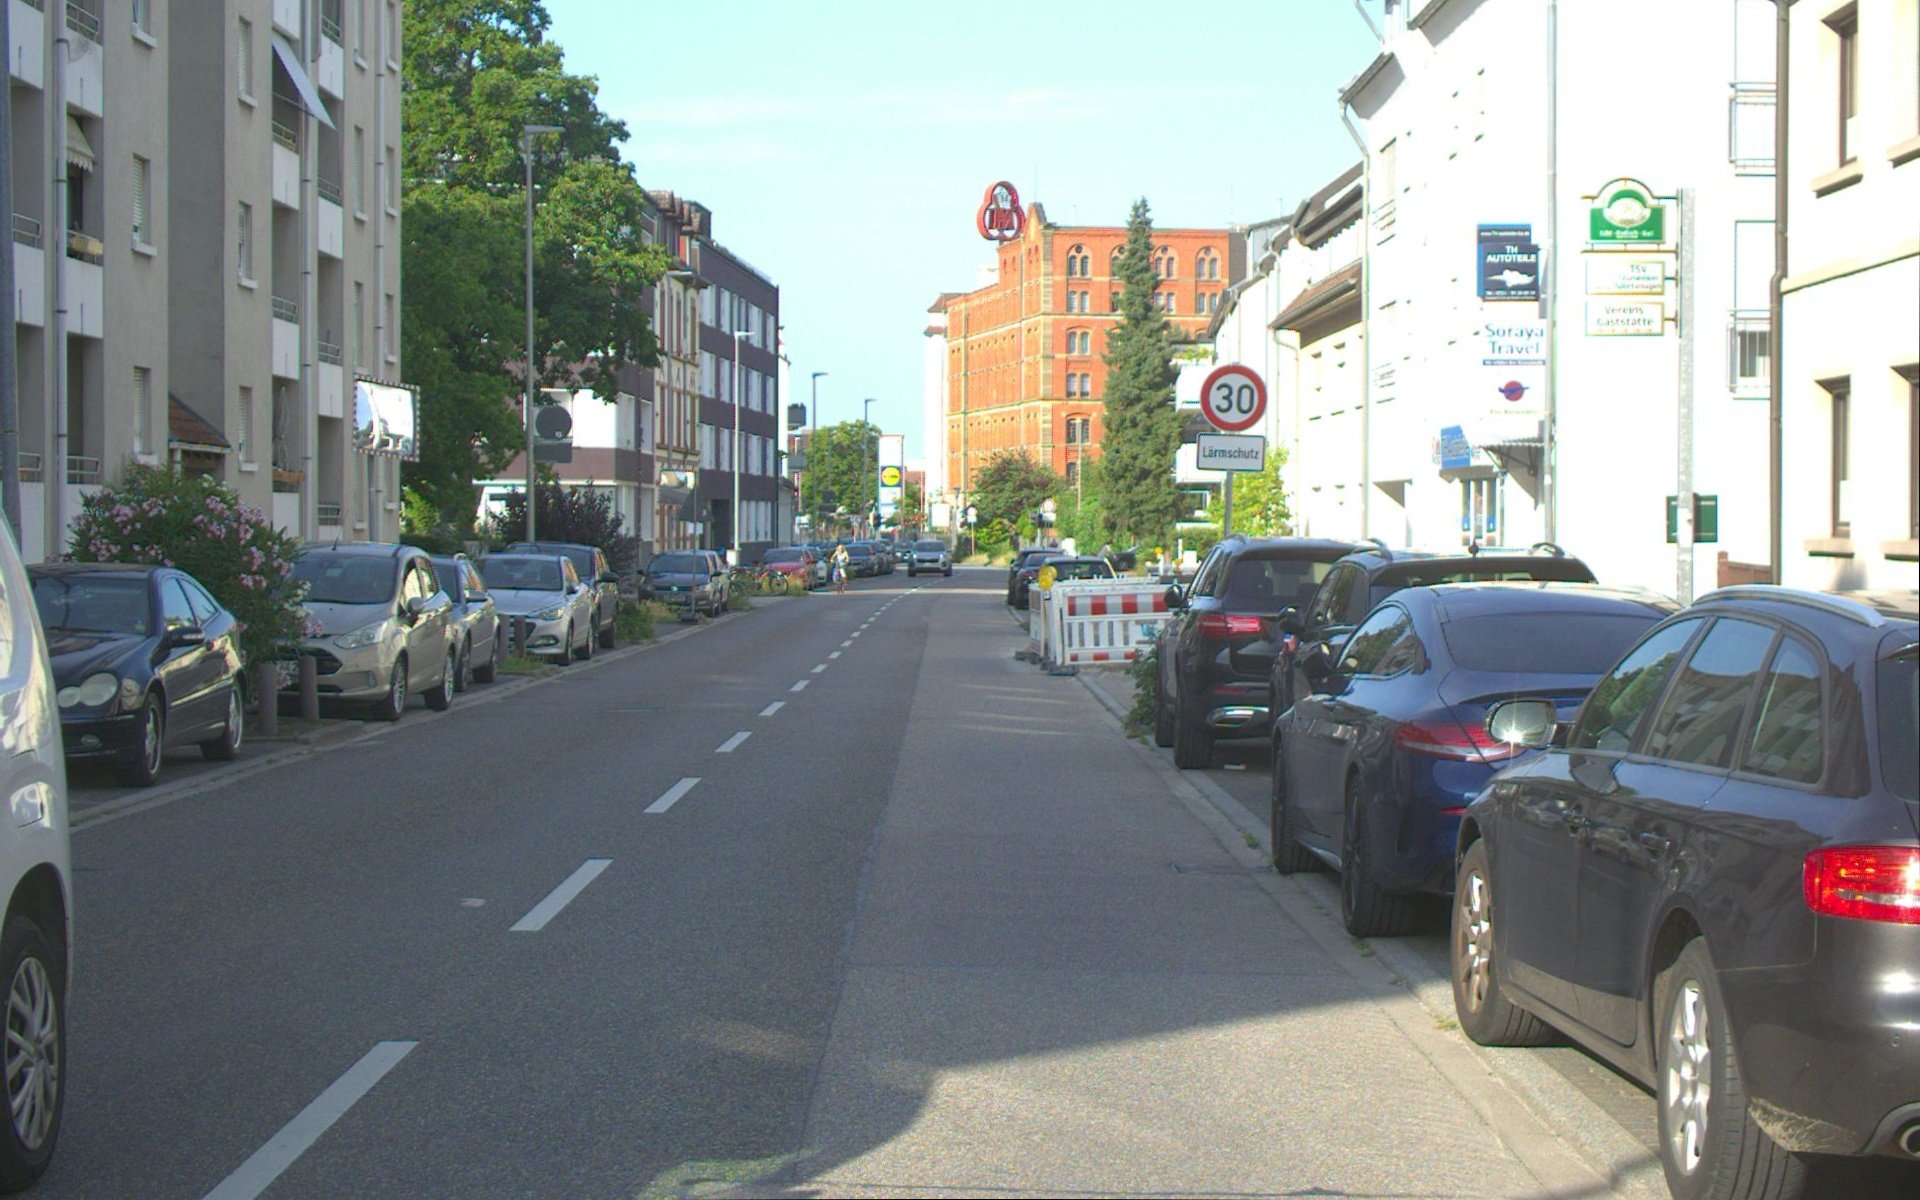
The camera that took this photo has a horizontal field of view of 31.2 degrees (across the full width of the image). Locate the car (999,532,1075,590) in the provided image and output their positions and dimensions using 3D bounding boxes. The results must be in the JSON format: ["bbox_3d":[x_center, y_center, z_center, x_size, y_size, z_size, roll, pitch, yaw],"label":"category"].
[{"bbox_3d":[1.982,-1.038,89.224,1.859,1.467,4.000,0,1,0],"label":"car"}]

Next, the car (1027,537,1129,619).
[{"bbox_3d":[2.198,-0.437,64.953,1.830,1.477,3.943,0,1,1],"label":"car"}]

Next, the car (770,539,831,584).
[{"bbox_3d":[-5.302,-1.284,114.624,1.840,1.459,3.585,0,1,0],"label":"car"}]

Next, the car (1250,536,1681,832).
[{"bbox_3d":[2.861,0.406,20.374,1.830,1.555,4.317,0,1,-1],"label":"car"}]

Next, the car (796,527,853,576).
[{"bbox_3d":[-5.294,-1.895,134.572,1.993,1.901,4.000,0,1,1],"label":"car"}]

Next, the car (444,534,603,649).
[{"bbox_3d":[-5.854,-0.143,46.515,1.686,1.449,4.141,1,1,-1],"label":"car"}]

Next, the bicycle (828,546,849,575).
[{"bbox_3d":[-3.936,-1.287,111.263,0.608,0.939,1.811,0,1,0],"label":"bicycle"}]

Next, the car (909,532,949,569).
[{"bbox_3d":[-1.377,-2.231,154.346,1.763,1.611,4.000,0,1,0],"label":"car"}]

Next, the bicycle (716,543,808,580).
[{"bbox_3d":[-6.149,-1.206,106.672,2.773,1.140,1.143,0,1,1],"label":"bicycle"}]

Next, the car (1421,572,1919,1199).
[{"bbox_3d":[2.440,0.668,8.996,1.779,1.415,4.496,0,1,-1],"label":"car"}]

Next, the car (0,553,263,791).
[{"bbox_3d":[-5.913,0.412,23.066,1.686,1.401,4.084,1,1,-1],"label":"car"}]

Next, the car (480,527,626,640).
[{"bbox_3d":[-6.060,-0.274,51.614,1.686,1.597,4.370,1,1,-1],"label":"car"}]

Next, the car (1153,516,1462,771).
[{"bbox_3d":[2.453,0.310,25.273,1.830,1.624,4.463,3,-1,1],"label":"car"}]

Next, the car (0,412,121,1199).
[{"bbox_3d":[-3.061,0.509,6.385,1.922,1.761,4.338,-1,1,0],"label":"car"}]

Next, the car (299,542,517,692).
[{"bbox_3d":[-6.060,0.141,38.164,1.807,1.516,4.371,1,1,-2],"label":"car"}]

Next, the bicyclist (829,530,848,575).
[{"bbox_3d":[-3.943,-1.537,111.293,0.591,1.437,0.751,0,1,0],"label":"bicyclist"}]

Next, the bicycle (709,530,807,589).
[{"bbox_3d":[-6.154,-1.236,104.898,2.918,1.771,1.202,0,1,1],"label":"bicycle"}]

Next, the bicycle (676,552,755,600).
[{"bbox_3d":[-6.275,-0.610,88.094,2.000,1.213,0.708,0,1,-5],"label":"bicycle"}]

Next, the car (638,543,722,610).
[{"bbox_3d":[-6.193,-0.543,76.218,1.573,1.415,3.804,1,1,-1],"label":"car"}]

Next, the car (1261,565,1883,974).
[{"bbox_3d":[2.404,0.587,14.685,1.830,1.415,4.609,0,1,0],"label":"car"}]

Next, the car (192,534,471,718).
[{"bbox_3d":[-5.699,0.187,31.594,1.727,1.550,3.965,1,1,1],"label":"car"}]
